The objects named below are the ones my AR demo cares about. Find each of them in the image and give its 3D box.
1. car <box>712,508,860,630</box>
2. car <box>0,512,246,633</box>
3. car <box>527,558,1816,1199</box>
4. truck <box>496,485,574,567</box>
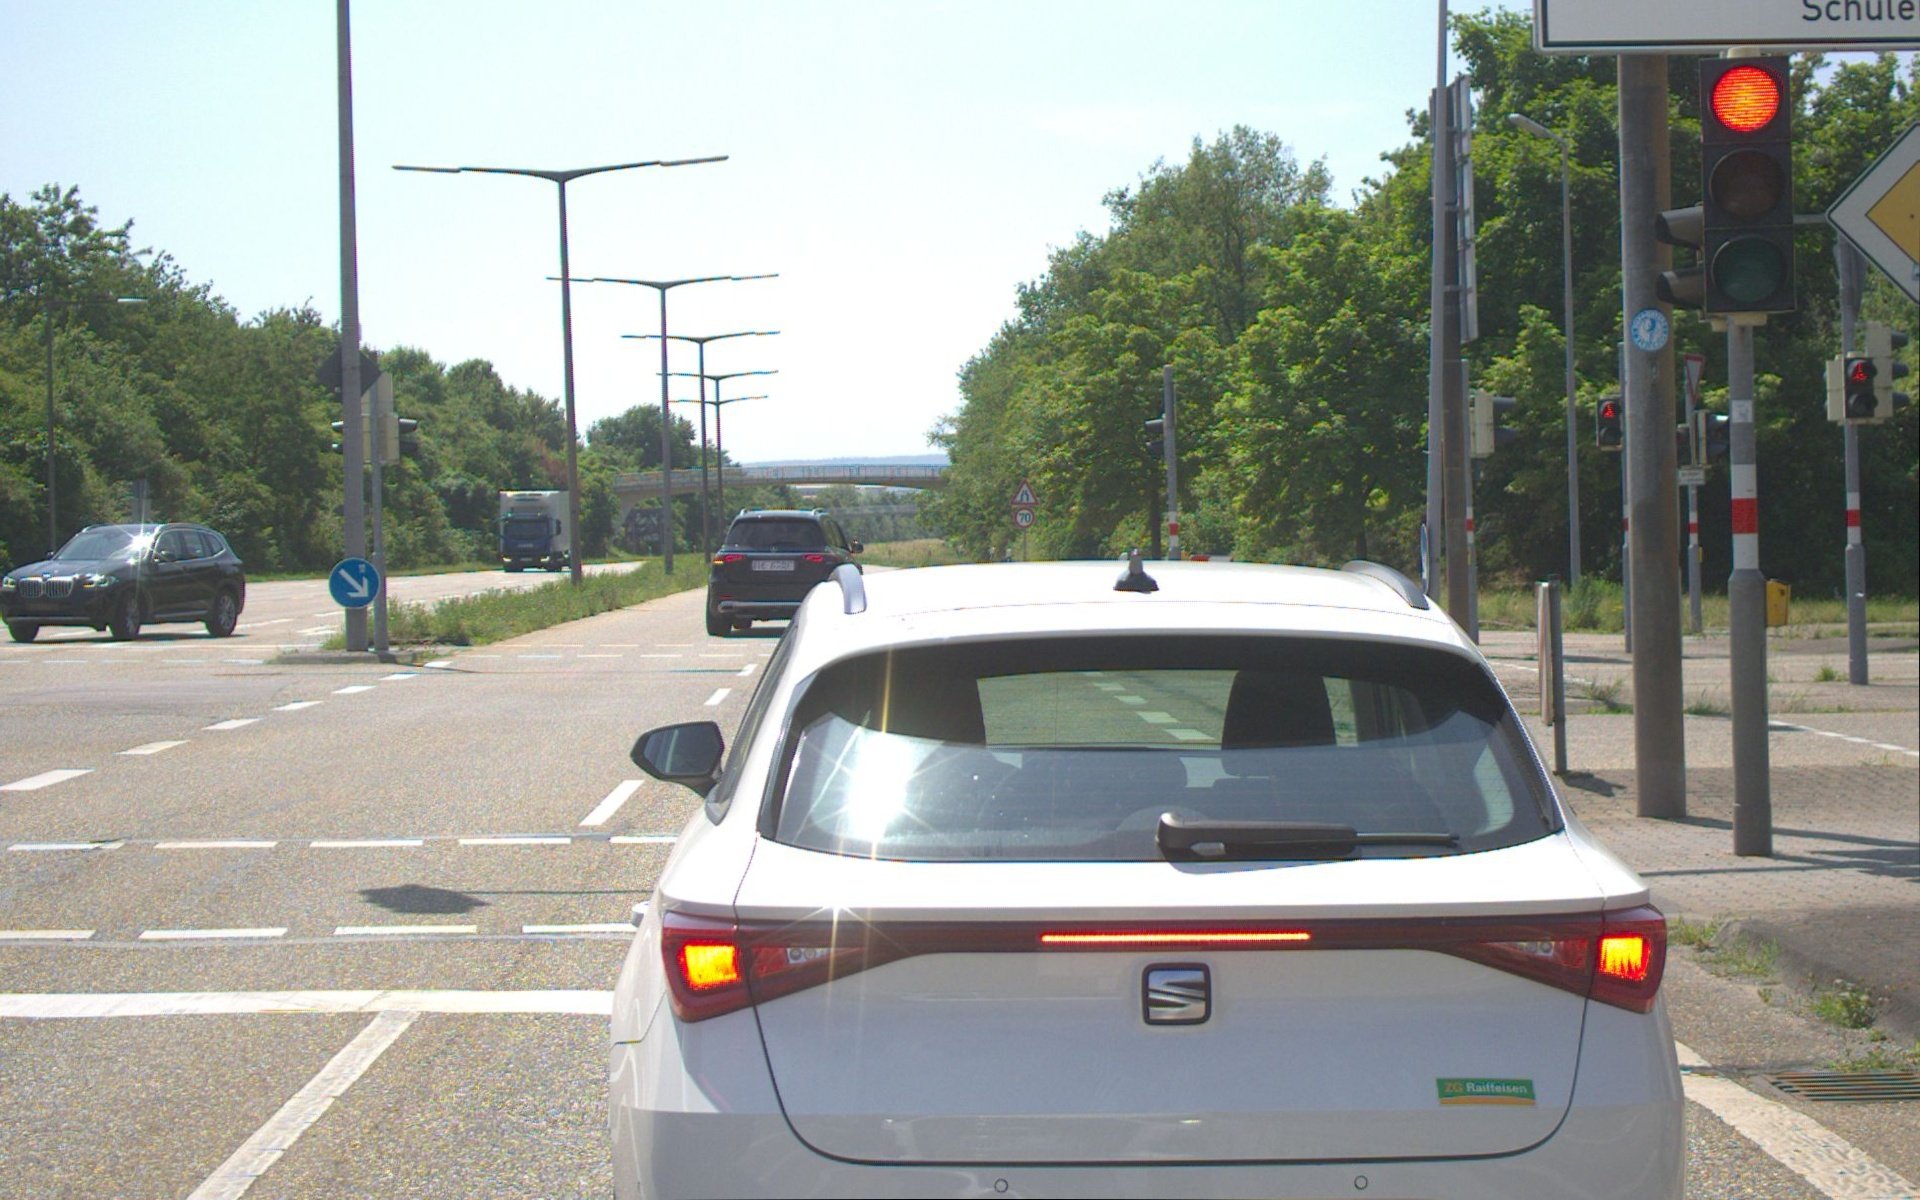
[{"bbox_3d":[-2.518,-0.488,50.648,1.855,1.703,4.000,-1,1,1],"label":"car"},{"bbox_3d":[-12.188,-0.431,50.250,1.708,1.657,4.220,-1,1,15],"label":"car"},{"bbox_3d":[0.262,0.648,6.502,1.734,1.423,3.695,1,1,-1],"label":"car"},{"bbox_3d":[-18.940,-3.314,153.398,2.687,3.558,7.268,0,1,-1],"label":"truck"}]
